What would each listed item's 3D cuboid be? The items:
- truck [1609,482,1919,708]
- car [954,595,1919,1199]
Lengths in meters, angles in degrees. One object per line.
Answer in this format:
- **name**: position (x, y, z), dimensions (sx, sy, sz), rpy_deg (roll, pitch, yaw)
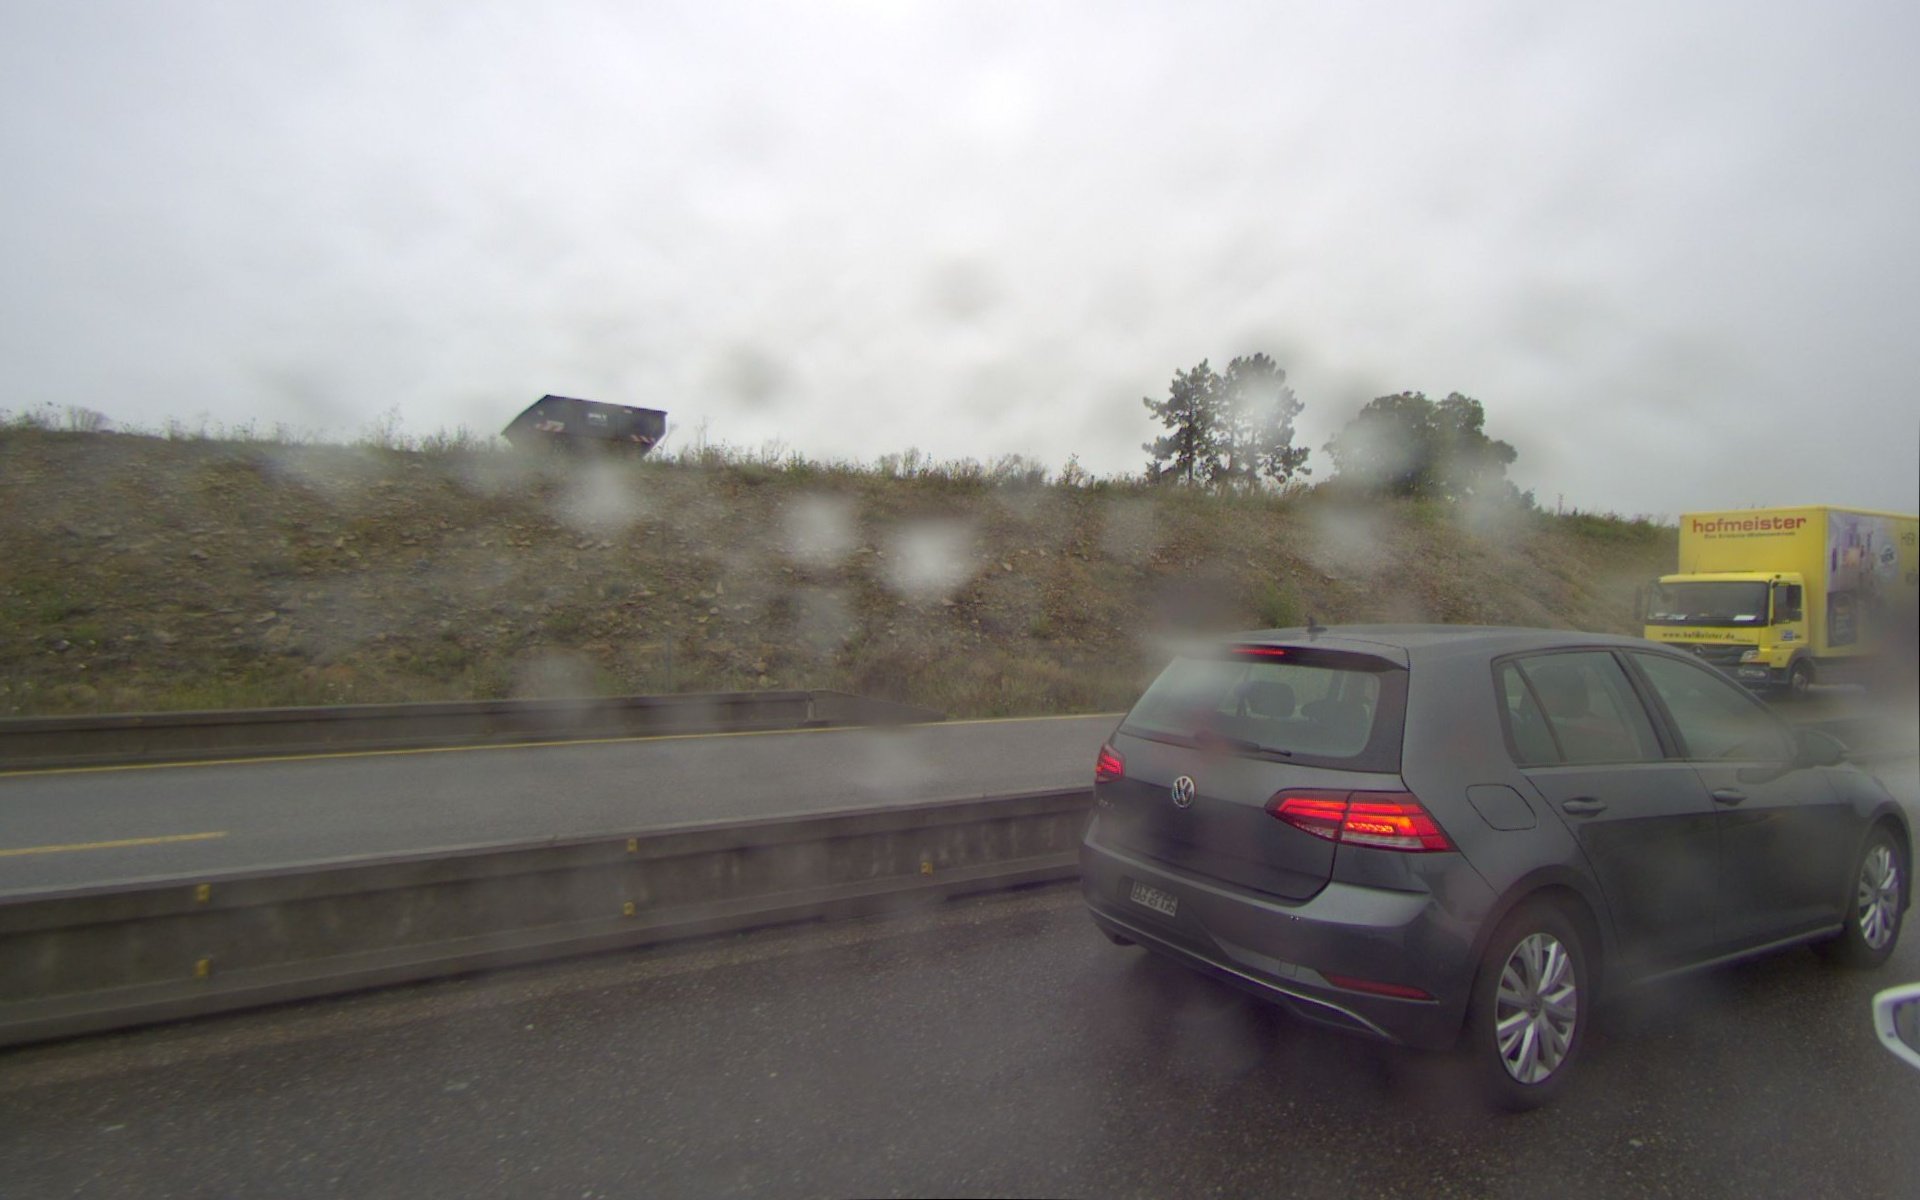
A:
- **truck**: position (17.578, -0.019, 21.259), dimensions (8.317, 4.050, 2.757), rpy_deg (1, 0, -28)
- **car**: position (2.223, 0.809, 4.162), dimensions (4.318, 1.526, 1.606), rpy_deg (1, -2, -31)
